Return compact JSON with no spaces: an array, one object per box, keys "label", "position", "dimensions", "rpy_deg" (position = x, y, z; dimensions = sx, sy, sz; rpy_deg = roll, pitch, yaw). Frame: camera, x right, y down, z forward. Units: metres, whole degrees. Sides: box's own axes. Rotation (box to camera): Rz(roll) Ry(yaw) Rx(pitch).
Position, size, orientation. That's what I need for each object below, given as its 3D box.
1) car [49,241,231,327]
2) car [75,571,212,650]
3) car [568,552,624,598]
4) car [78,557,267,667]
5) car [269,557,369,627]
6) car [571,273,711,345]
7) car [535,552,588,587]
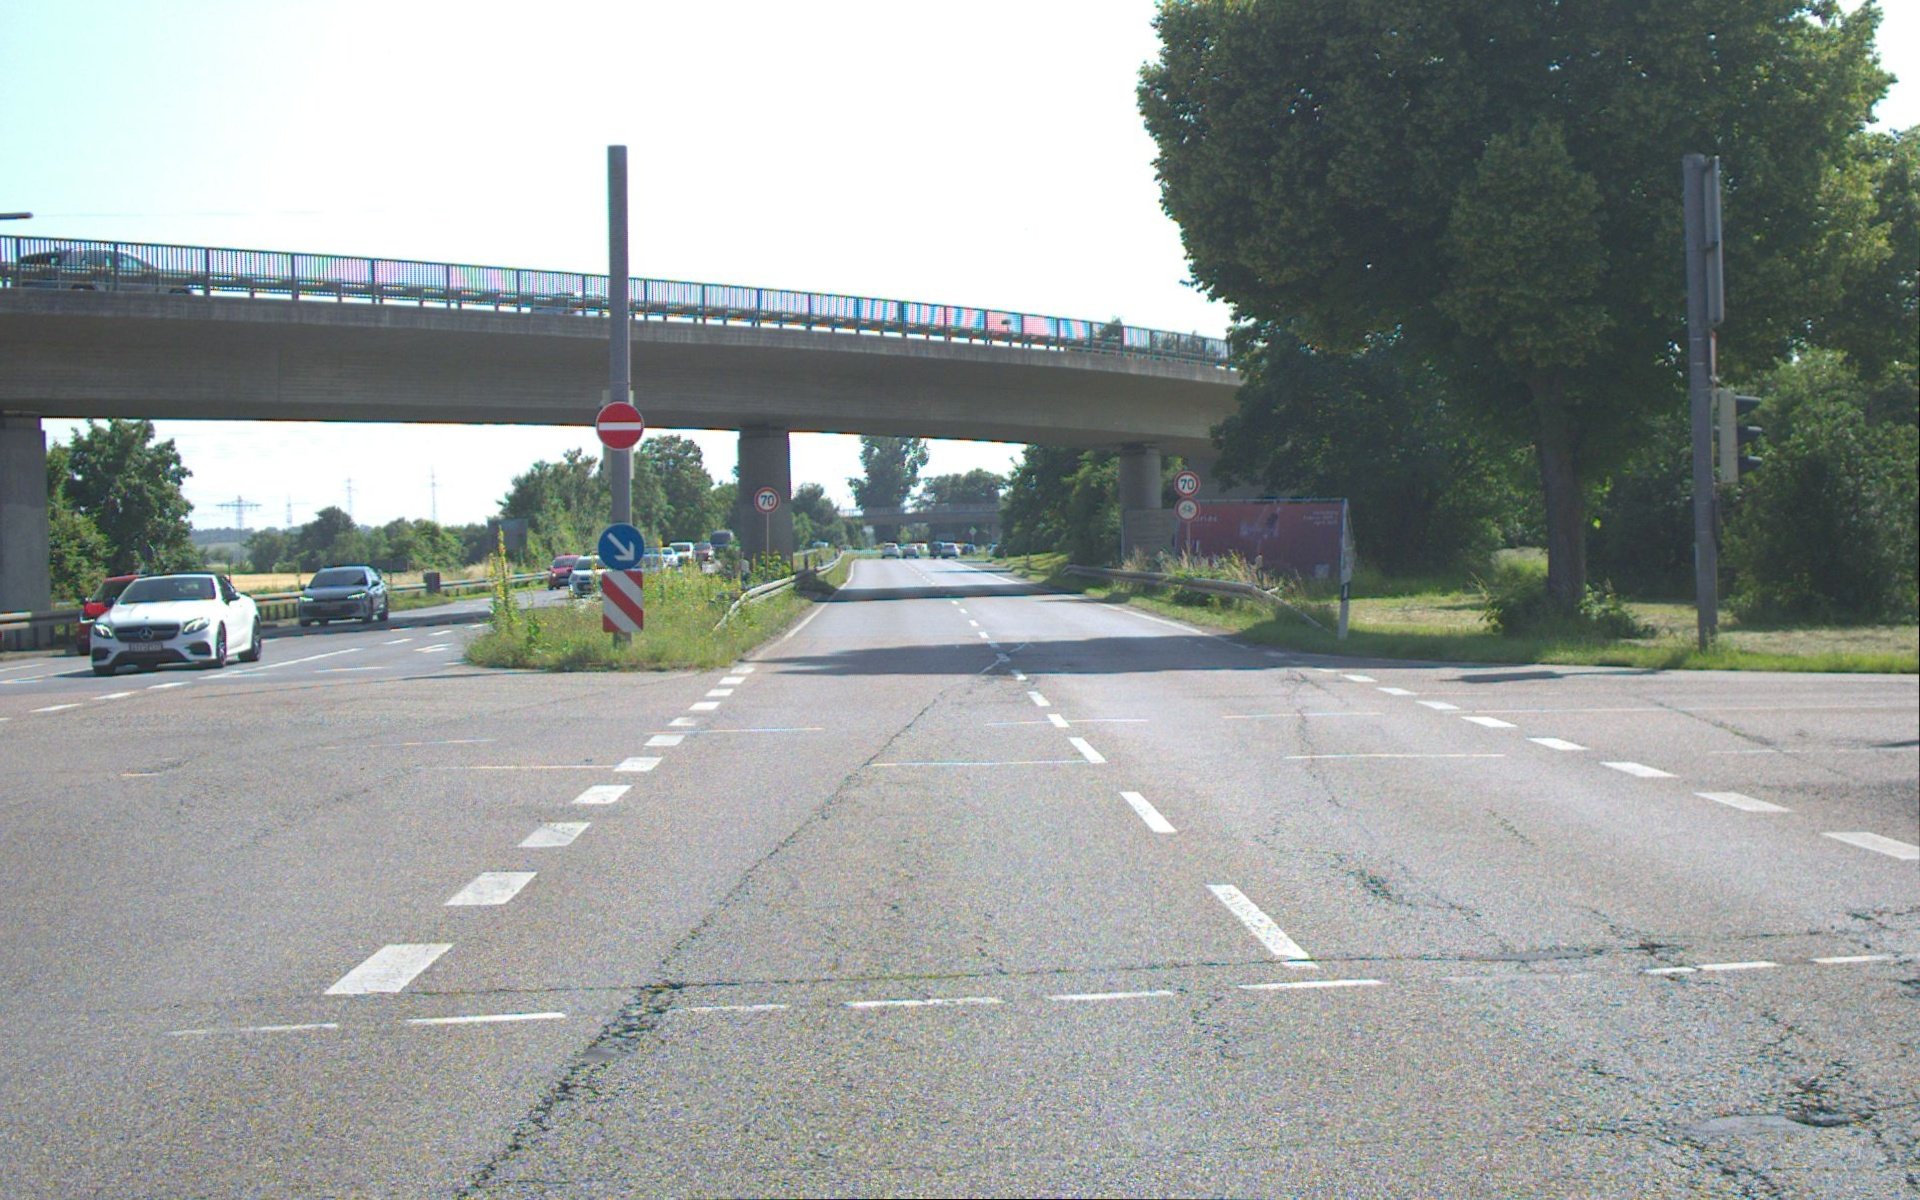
[{"label":"car","position":[-16.680,-6.413,70.018],"dimensions":[1.539,1.472,3.384],"rpy_deg":[-2,0,34]},{"label":"car","position":[-15.491,0.182,65.421],"dimensions":[1.640,1.380,4.241],"rpy_deg":[-2,1,-1]},{"label":"car","position":[-12.894,-0.905,121.959],"dimensions":[1.557,1.535,4.000],"rpy_deg":[-2,1,-1]},{"label":"car","position":[-11.697,0.144,51.331],"dimensions":[1.856,1.443,4.241],"rpy_deg":[-3,1,-1]},{"label":"car","position":[-15.940,-0.223,85.681],"dimensions":[1.790,1.622,4.000],"rpy_deg":[-2,1,-2]},{"label":"car","position":[-7.896,-7.205,85.389],"dimensions":[1.740,1.464,3.745],"rpy_deg":[1,0,27]},{"label":"car","position":[-19.107,-1.479,165.114],"dimensions":[1.993,1.553,4.000],"rpy_deg":[-2,1,1]}]
